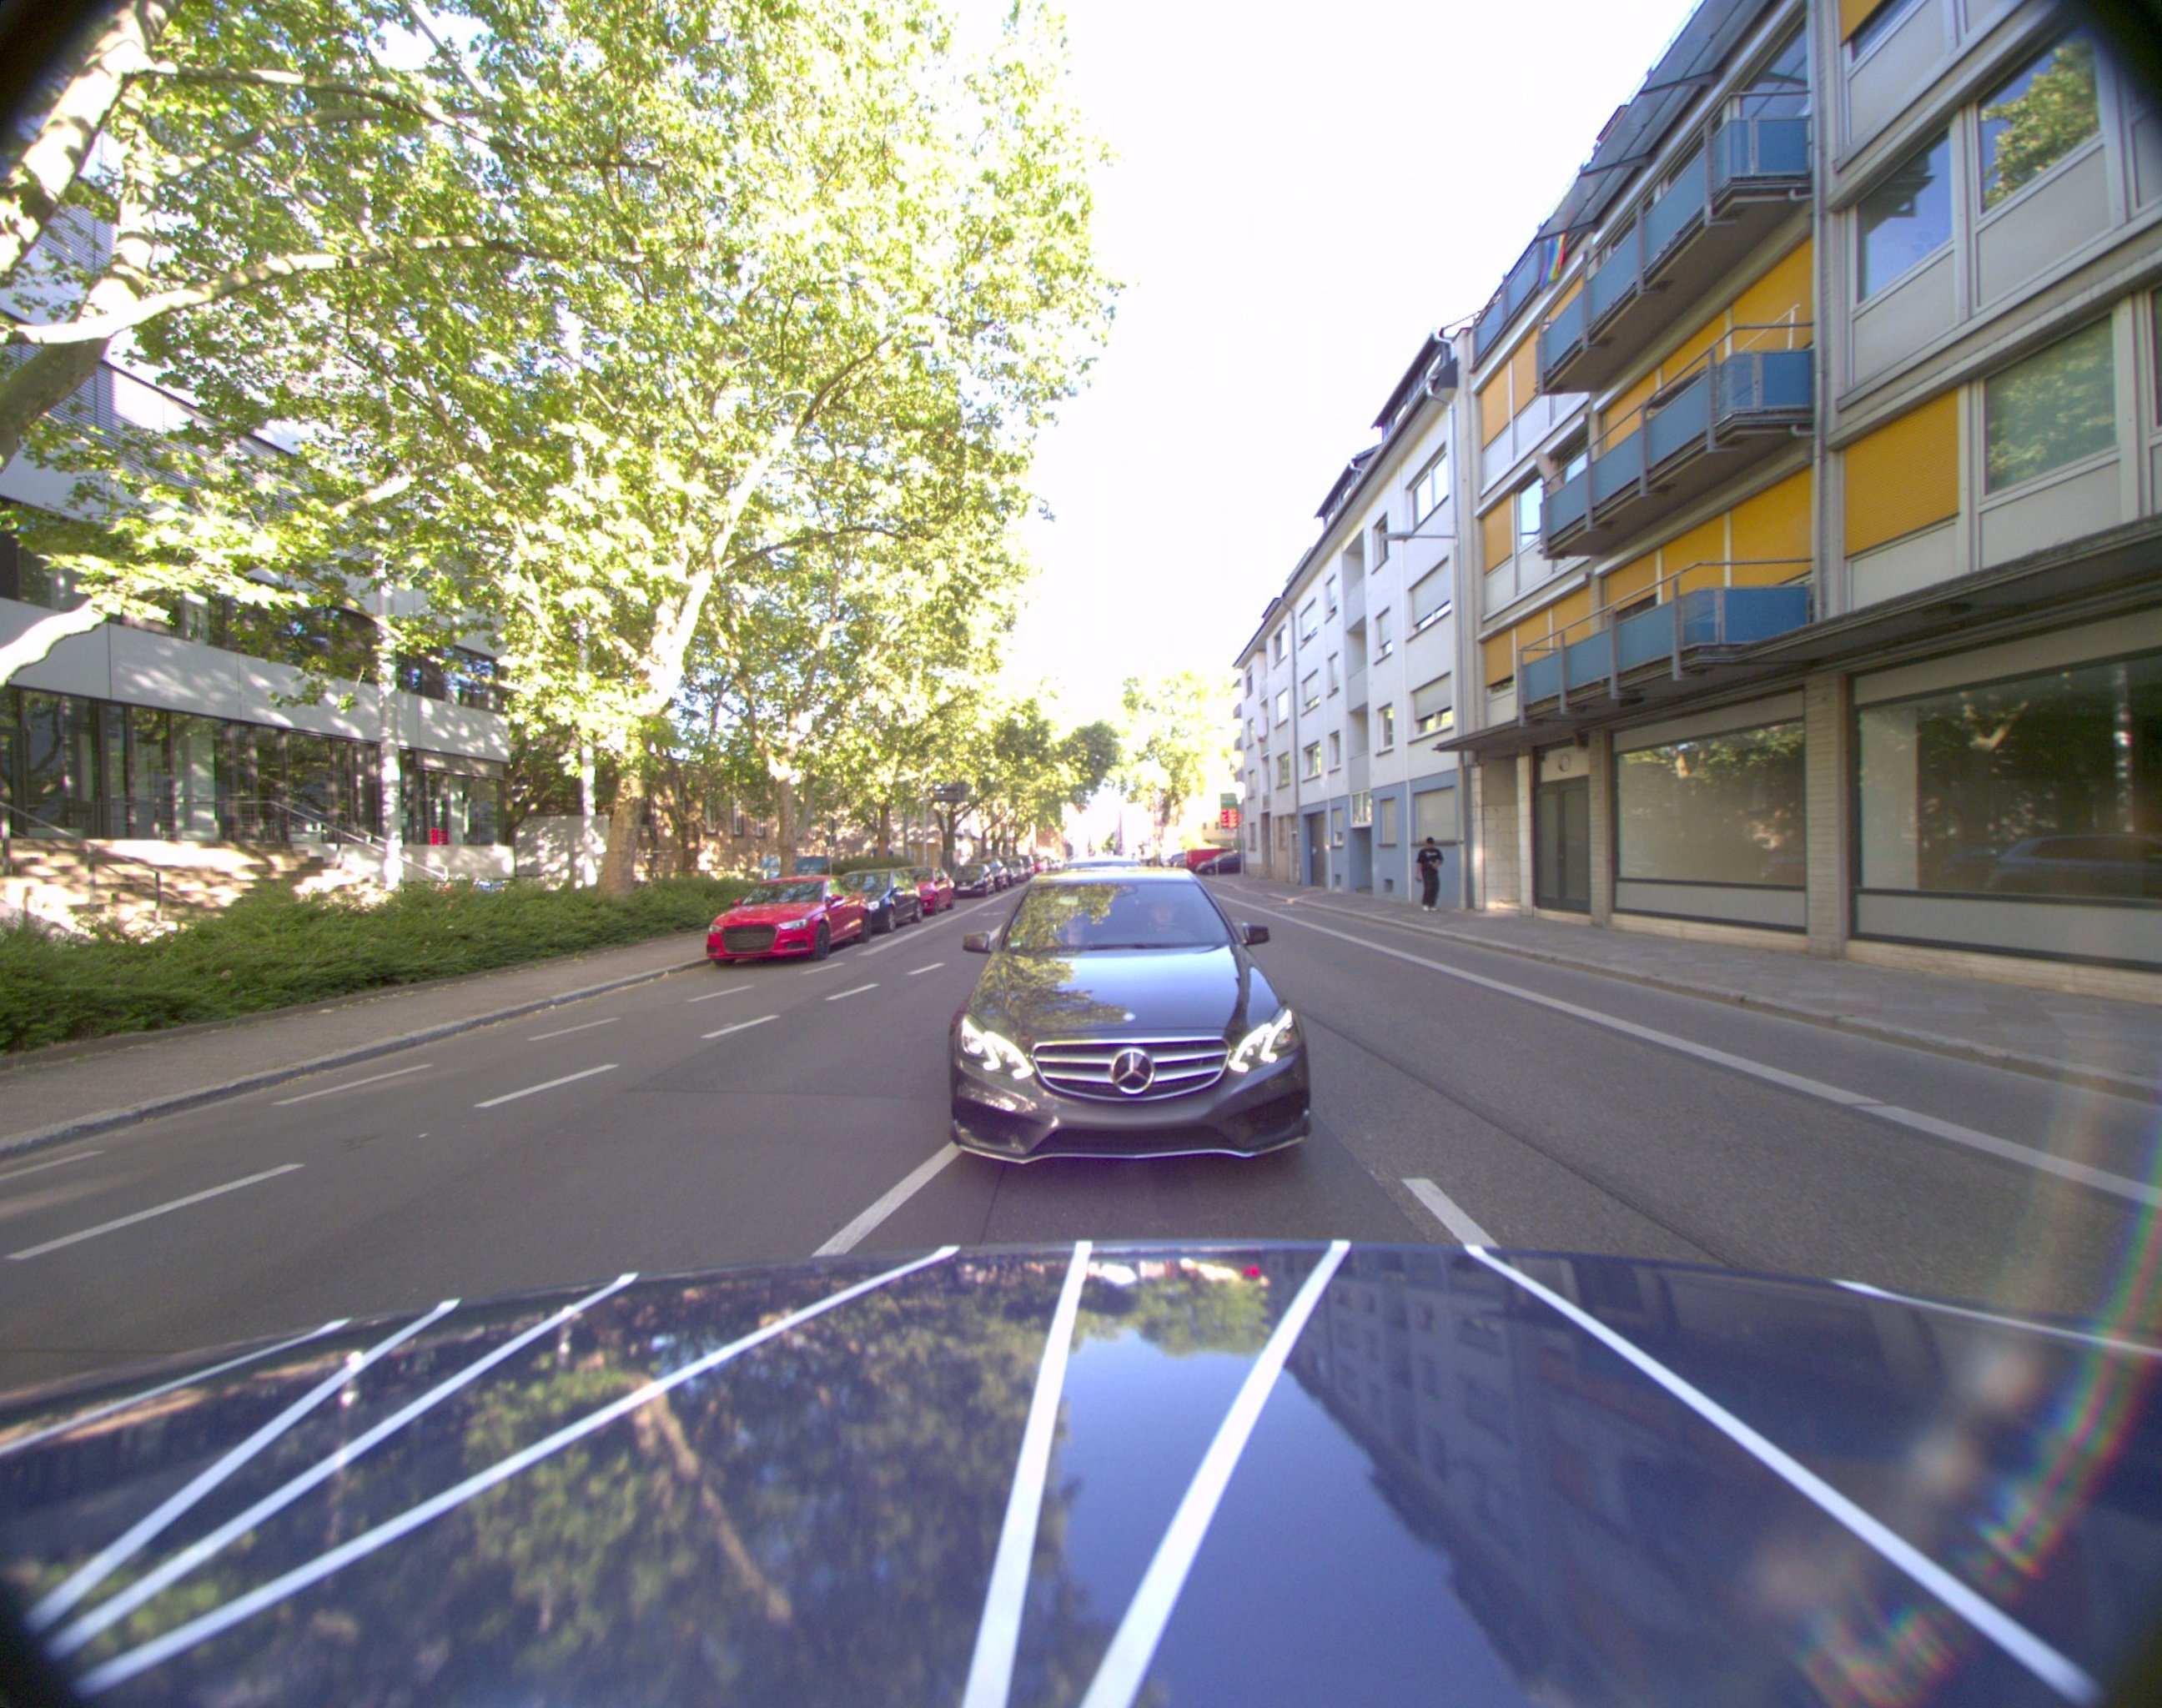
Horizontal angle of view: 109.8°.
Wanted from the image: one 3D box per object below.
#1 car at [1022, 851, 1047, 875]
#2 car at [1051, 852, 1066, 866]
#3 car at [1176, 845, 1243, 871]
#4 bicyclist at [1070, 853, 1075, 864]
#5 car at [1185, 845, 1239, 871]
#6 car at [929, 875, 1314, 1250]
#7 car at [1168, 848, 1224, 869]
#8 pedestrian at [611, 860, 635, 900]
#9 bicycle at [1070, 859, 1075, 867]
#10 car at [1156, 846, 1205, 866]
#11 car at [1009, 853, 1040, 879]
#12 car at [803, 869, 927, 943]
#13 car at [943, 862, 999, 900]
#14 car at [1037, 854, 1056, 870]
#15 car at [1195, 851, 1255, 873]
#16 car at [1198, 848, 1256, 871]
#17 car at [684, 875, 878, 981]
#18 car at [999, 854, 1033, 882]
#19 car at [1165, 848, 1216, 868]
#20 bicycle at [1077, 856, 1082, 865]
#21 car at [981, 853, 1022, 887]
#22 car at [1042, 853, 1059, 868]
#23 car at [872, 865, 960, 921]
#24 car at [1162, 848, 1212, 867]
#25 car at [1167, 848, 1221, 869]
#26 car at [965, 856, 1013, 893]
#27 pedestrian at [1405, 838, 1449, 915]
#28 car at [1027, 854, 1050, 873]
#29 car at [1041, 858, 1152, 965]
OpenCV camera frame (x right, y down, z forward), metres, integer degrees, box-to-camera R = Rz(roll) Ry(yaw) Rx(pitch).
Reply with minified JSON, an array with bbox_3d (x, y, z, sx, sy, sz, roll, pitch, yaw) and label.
[{"bbox_3d":[-4.003,0.728,66.391,1.755,1.941,4.447,-3,0,1],"label":"car"},{"bbox_3d":[-3.024,0.650,103.205,1.755,1.652,4.447,-3,0,1],"label":"car"},{"bbox_3d":[10.630,0.293,63.108,5.223,1.969,2.257,-2,0,1],"label":"car"},{"bbox_3d":[-1.078,0.546,95.212,0.650,1.427,0.741,-2,1,1],"label":"bicyclist"},{"bbox_3d":[10.325,0.299,60.083,3.997,1.926,1.867,-2,0,1],"label":"car"},{"bbox_3d":[0.208,0.982,5.359,1.667,1.499,4.000,-1,0,1],"label":"car"},{"bbox_3d":[11.092,0.442,73.524,5.143,1.926,2.187,-2,0,1],"label":"car"},{"bbox_3d":[-19.388,1.102,32.181,0.525,1.660,0.661,-2,1,2],"label":"pedestrian"},{"bbox_3d":[-1.062,1.115,95.248,0.650,1.053,1.595,-2,0,1],"label":"bicycle"},{"bbox_3d":[11.182,0.200,85.524,5.143,2.135,2.187,-2,0,1],"label":"car"},{"bbox_3d":[-4.108,0.822,55.758,1.755,1.753,4.447,-3,0,1],"label":"car"},{"bbox_3d":[-5.089,1.172,18.445,1.755,1.424,3.909,-3,0,1],"label":"car"},{"bbox_3d":[-4.755,1.117,33.296,1.755,1.424,3.909,-3,0,1],"label":"car"},{"bbox_3d":[-3.784,0.870,83.517,1.755,1.652,4.447,-3,0,1],"label":"car"},{"bbox_3d":[10.350,0.561,54.784,3.997,1.412,1.743,-2,0,1],"label":"car"},{"bbox_3d":[10.906,0.390,56.994,3.997,1.552,1.743,-2,0,1],"label":"car"},{"bbox_3d":[-5.115,1.187,13.599,1.755,1.400,4.000,-3,0,1],"label":"car"},{"bbox_3d":[-4.278,0.880,50.947,1.755,1.718,4.447,-3,0,1],"label":"car"},{"bbox_3d":[11.279,0.372,78.722,4.991,1.926,2.083,-2,0,1],"label":"car"},{"bbox_3d":[-0.240,0.831,95.068,0.574,1.053,1.595,-2,0,1],"label":"bicycle"},{"bbox_3d":[-4.559,0.870,44.064,1.755,1.810,4.447,-3,0,1],"label":"car"},{"bbox_3d":[-3.656,0.773,93.006,1.755,1.652,4.447,-3,0,1],"label":"car"},{"bbox_3d":[-5.039,1.145,23.658,1.755,1.459,3.909,-3,0,1],"label":"car"},{"bbox_3d":[11.315,0.346,81.188,5.042,1.926,2.315,-2,0,1],"label":"car"},{"bbox_3d":[11.264,0.403,76.224,5.054,1.926,2.161,-2,0,1],"label":"car"},{"bbox_3d":[-4.568,0.975,38.266,1.755,1.644,4.174,-3,0,1],"label":"car"},{"bbox_3d":[8.147,0.518,17.899,0.663,1.761,0.793,-2,1,4],"label":"pedestrian"},{"bbox_3d":[-4.010,0.903,72.177,1.755,1.652,4.447,-3,0,1],"label":"car"},{"bbox_3d":[0.267,0.885,13.612,1.667,1.563,4.000,-1,0,1],"label":"car"}]
